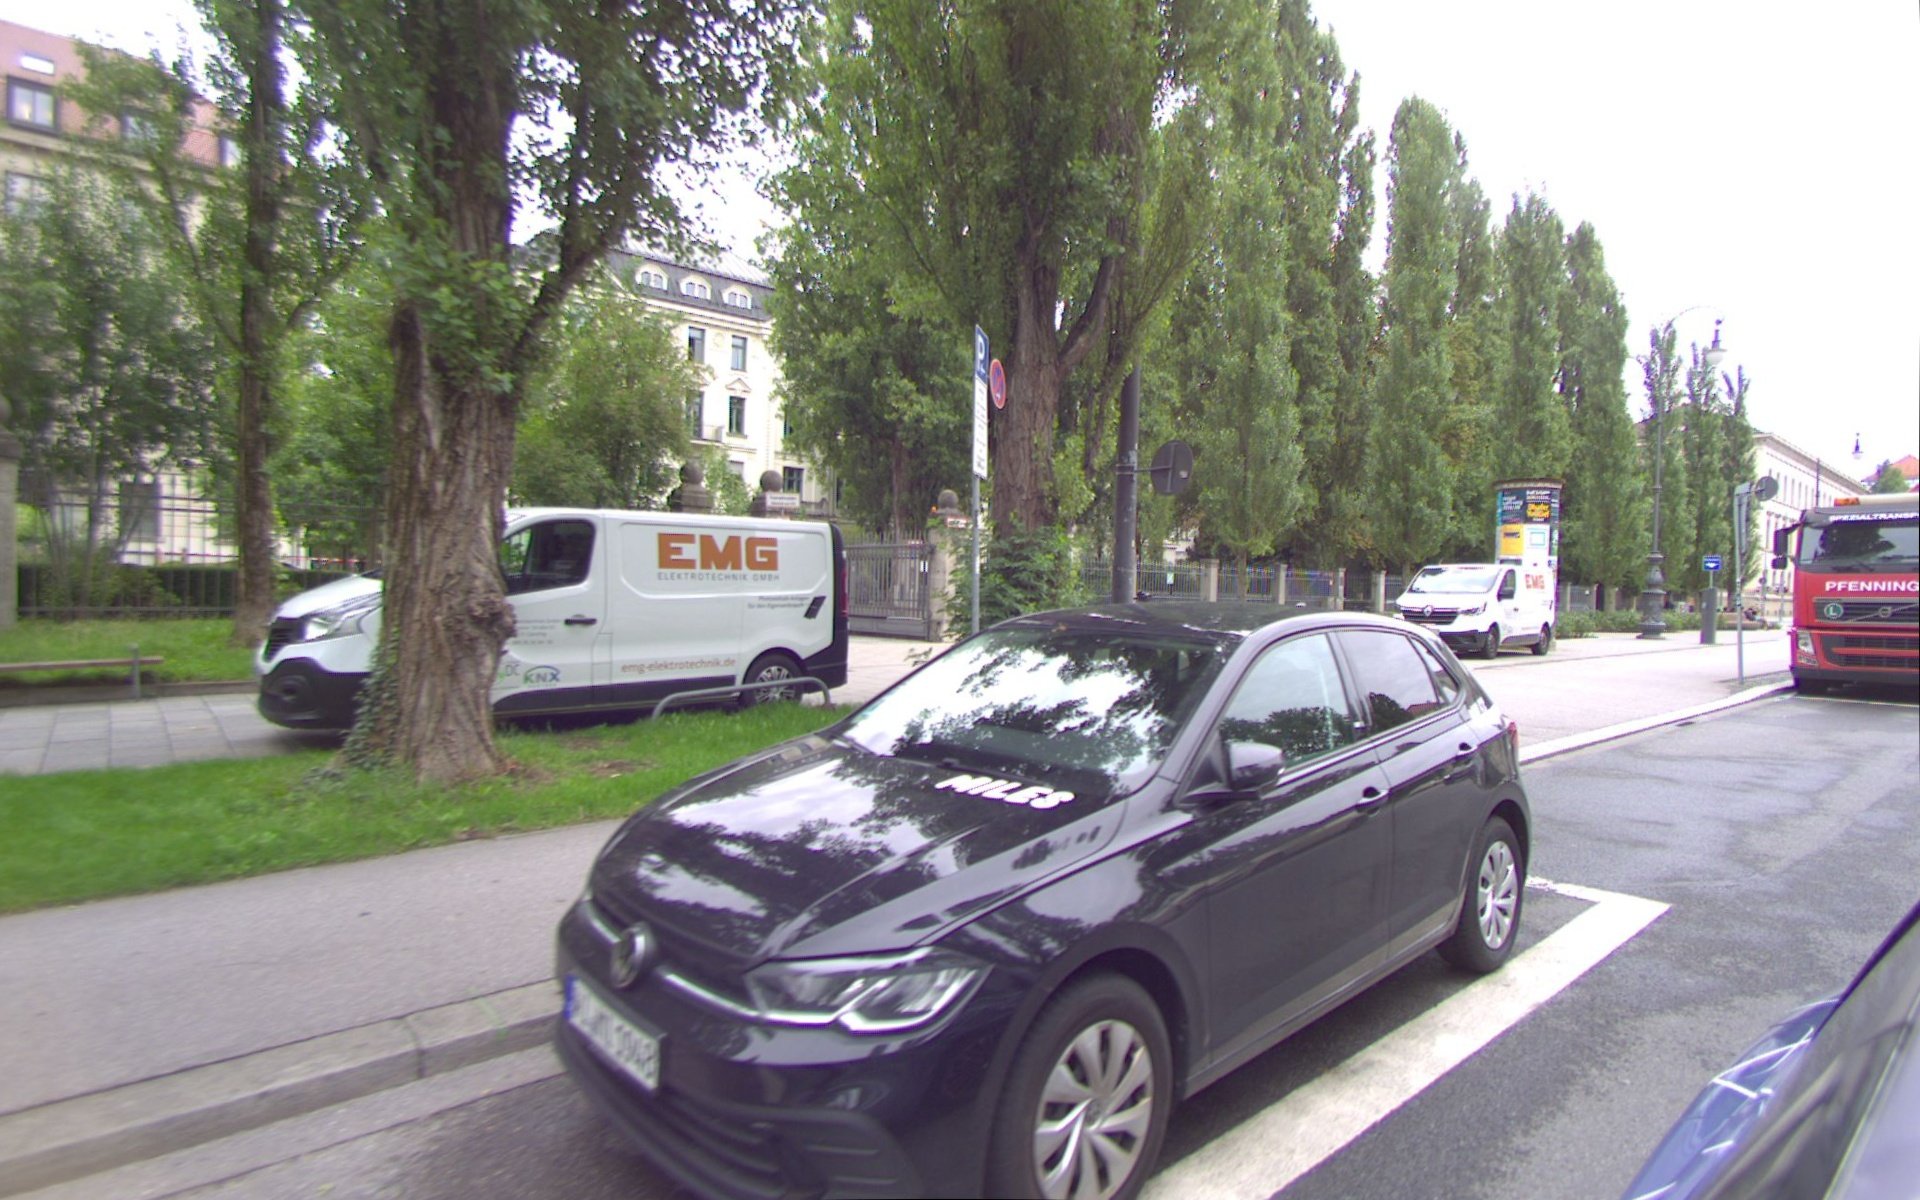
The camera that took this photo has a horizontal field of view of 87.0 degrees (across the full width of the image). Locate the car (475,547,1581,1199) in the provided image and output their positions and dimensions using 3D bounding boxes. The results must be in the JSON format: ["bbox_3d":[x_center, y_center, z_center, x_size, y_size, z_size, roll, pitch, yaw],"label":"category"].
[{"bbox_3d":[0.598,0.666,3.665,3.931,1.468,1.756,0,-1,-42],"label":"car"}]

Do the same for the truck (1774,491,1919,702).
[{"bbox_3d":[17.967,-0.032,18.733,10.244,3.148,2.719,0,1,-41],"label":"truck"}]

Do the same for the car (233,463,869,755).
[{"bbox_3d":[-3.450,0.036,9.211,4.993,1.970,1.997,0,1,-41],"label":"car"}]

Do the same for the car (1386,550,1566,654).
[{"bbox_3d":[11.005,0.044,21.433,4.802,1.969,1.882,1,0,-43],"label":"car"}]

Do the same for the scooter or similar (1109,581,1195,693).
[{"bbox_3d":[2.307,0.423,12.102,1.165,1.281,0.337,1,1,-41],"label":"scooter or similar"}]
